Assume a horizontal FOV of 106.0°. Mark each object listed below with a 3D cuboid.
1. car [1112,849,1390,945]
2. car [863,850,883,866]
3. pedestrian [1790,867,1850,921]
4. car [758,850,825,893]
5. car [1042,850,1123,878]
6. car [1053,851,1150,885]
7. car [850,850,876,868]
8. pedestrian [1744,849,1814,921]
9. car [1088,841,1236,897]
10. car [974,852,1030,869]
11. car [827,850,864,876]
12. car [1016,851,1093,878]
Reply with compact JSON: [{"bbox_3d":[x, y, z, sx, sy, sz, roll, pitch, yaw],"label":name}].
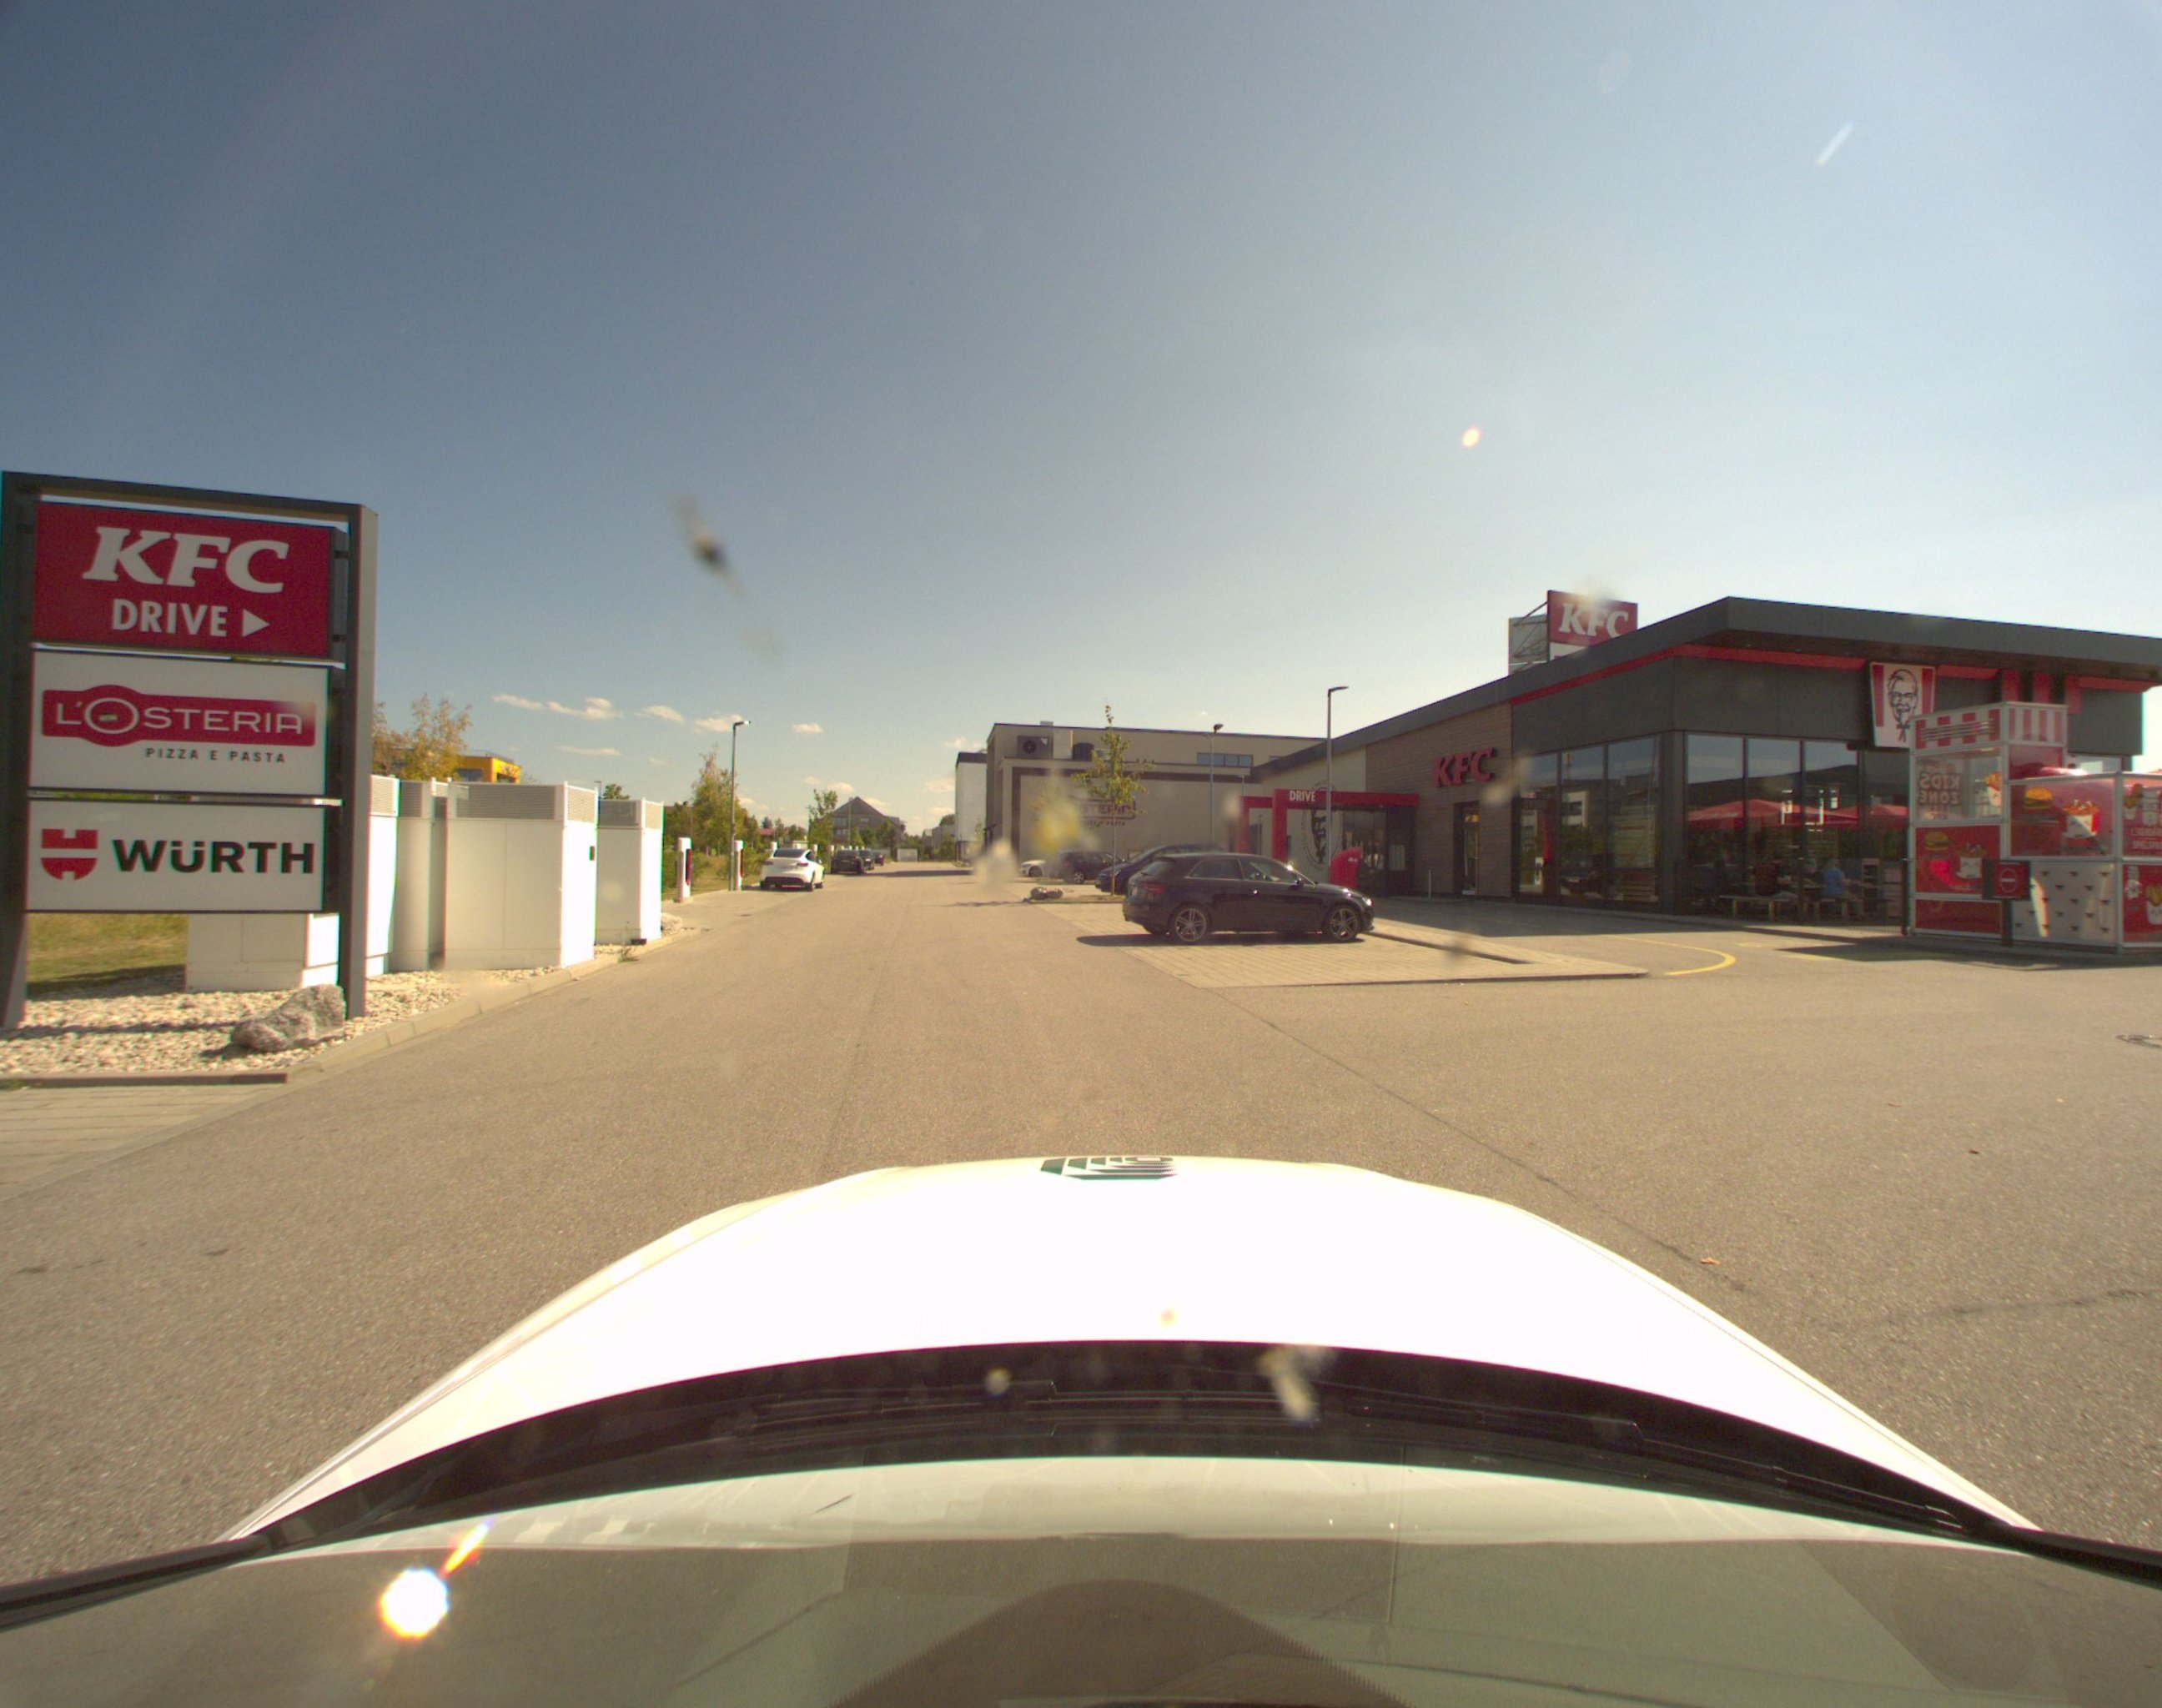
[{"bbox_3d":[2.761,0.676,13.547,4.203,1.441,1.691,1,0,-12],"label":"car"},{"bbox_3d":[-20.710,0.375,81.251,1.744,1.568,3.983,1,0,-13],"label":"car"},{"bbox_3d":[15.151,0.813,16.711,0.716,1.071,0.626,0,0,-14],"label":"pedestrian"},{"bbox_3d":[-11.343,0.636,32.178,1.946,1.568,3.984,1,0,-12],"label":"car"},{"bbox_3d":[0.068,0.522,42.615,3.993,1.420,1.643,1,0,-15],"label":"car"},{"bbox_3d":[0.879,0.613,35.699,3.993,1.420,1.643,1,0,-15],"label":"car"},{"bbox_3d":[-17.323,0.391,64.805,1.744,1.387,3.983,1,0,-13],"label":"car"},{"bbox_3d":[14.206,0.615,16.592,0.798,1.435,0.769,0,0,-14],"label":"pedestrian"},{"bbox_3d":[2.548,0.477,25.851,4.379,1.685,1.633,1,0,-16],"label":"car"},{"bbox_3d":[-5.932,0.480,60.842,3.990,1.156,1.992,0,0,-13],"label":"car"},{"bbox_3d":[-15.305,0.552,53.117,1.946,1.568,3.985,1,0,-11],"label":"car"},{"bbox_3d":[-1.464,0.589,44.975,3.993,1.420,1.643,1,0,-15],"label":"car"}]
